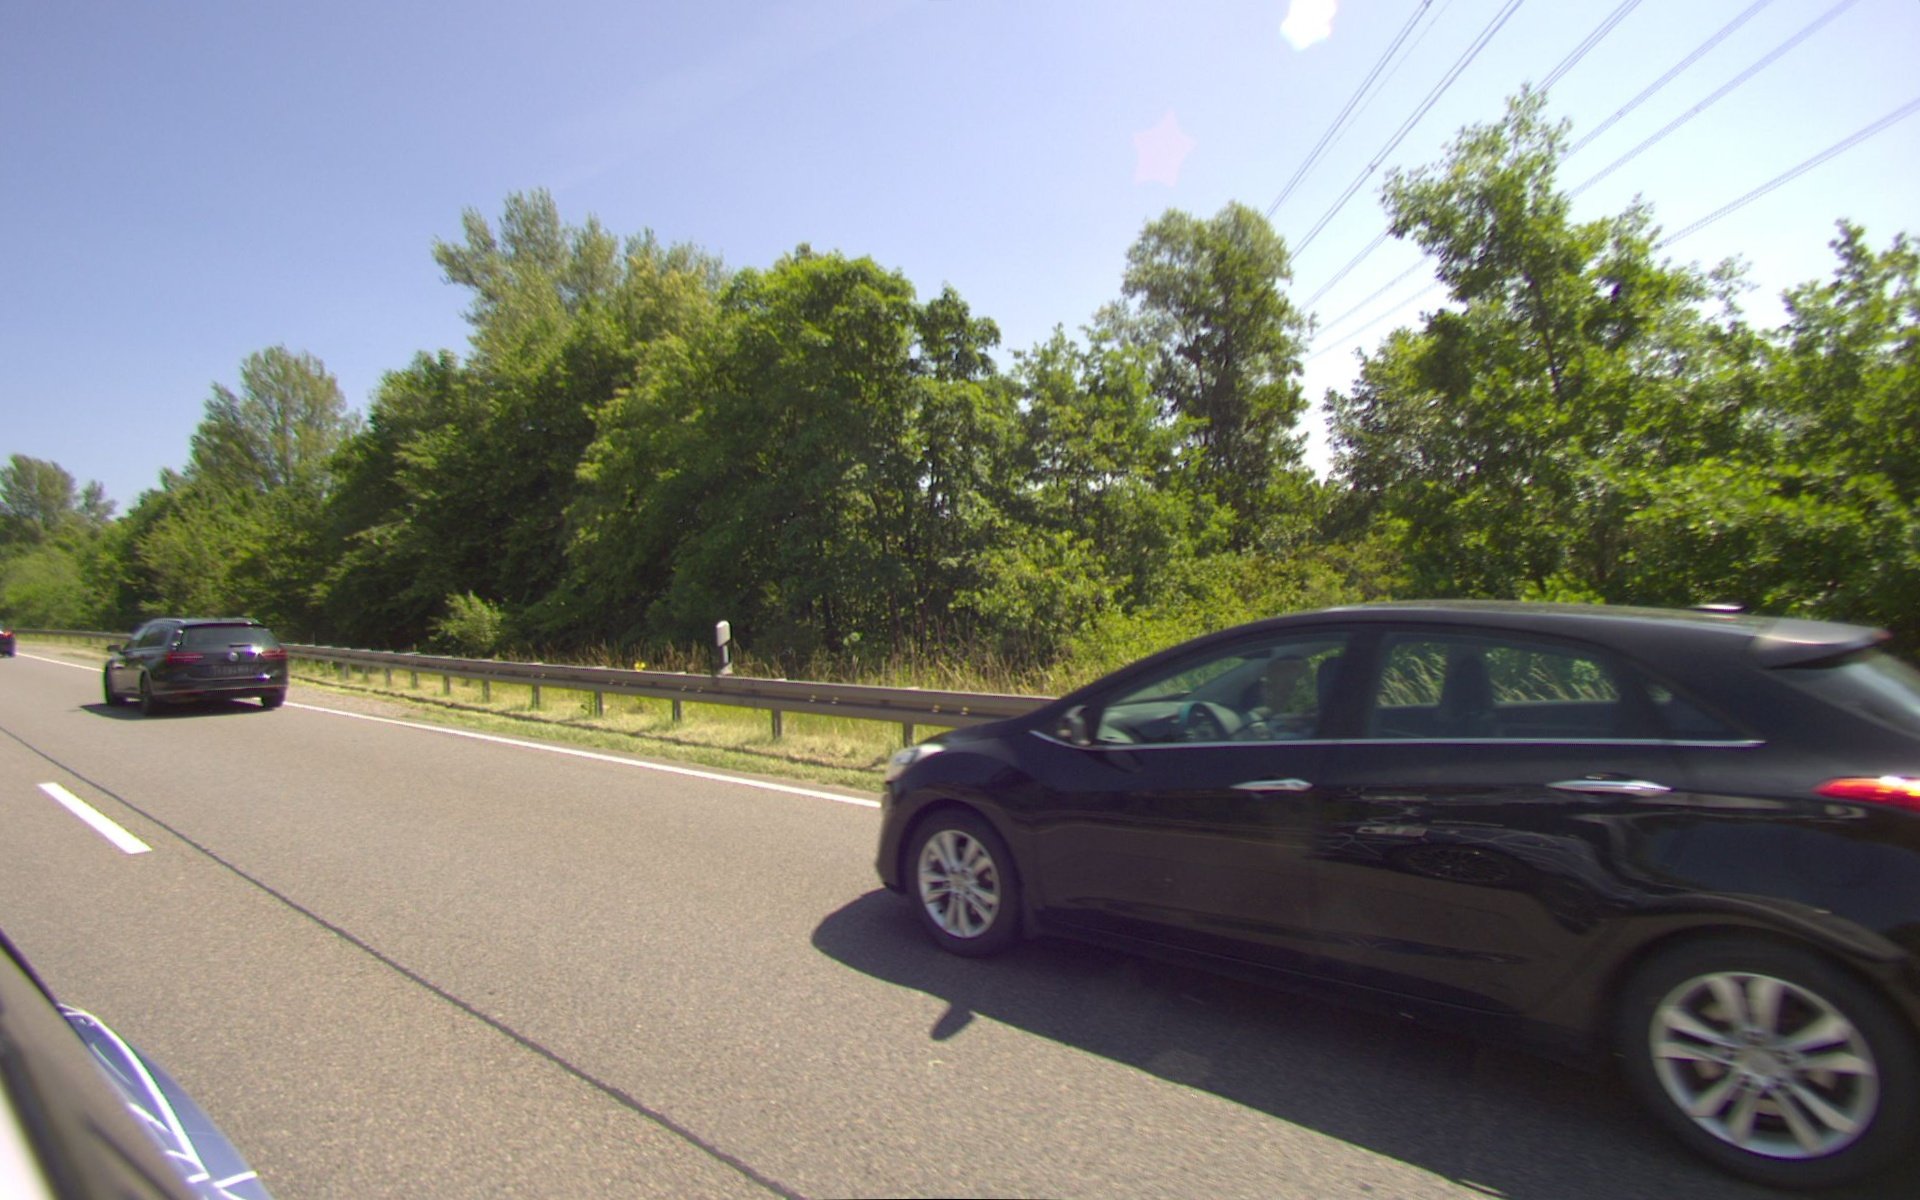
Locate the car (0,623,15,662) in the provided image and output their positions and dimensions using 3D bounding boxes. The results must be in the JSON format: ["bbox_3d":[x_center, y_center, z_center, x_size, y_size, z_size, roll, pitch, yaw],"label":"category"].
[{"bbox_3d":[-38.306,1.641,39.499,4.411,1.448,1.617,-1,-1,40],"label":"car"}]

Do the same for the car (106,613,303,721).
[{"bbox_3d":[-12.353,1.004,16.465,3.999,1.508,1.825,-1,-1,42],"label":"car"}]

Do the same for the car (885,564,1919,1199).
[{"bbox_3d":[1.757,0.674,3.737,3.999,1.465,1.782,-1,-1,42],"label":"car"}]
